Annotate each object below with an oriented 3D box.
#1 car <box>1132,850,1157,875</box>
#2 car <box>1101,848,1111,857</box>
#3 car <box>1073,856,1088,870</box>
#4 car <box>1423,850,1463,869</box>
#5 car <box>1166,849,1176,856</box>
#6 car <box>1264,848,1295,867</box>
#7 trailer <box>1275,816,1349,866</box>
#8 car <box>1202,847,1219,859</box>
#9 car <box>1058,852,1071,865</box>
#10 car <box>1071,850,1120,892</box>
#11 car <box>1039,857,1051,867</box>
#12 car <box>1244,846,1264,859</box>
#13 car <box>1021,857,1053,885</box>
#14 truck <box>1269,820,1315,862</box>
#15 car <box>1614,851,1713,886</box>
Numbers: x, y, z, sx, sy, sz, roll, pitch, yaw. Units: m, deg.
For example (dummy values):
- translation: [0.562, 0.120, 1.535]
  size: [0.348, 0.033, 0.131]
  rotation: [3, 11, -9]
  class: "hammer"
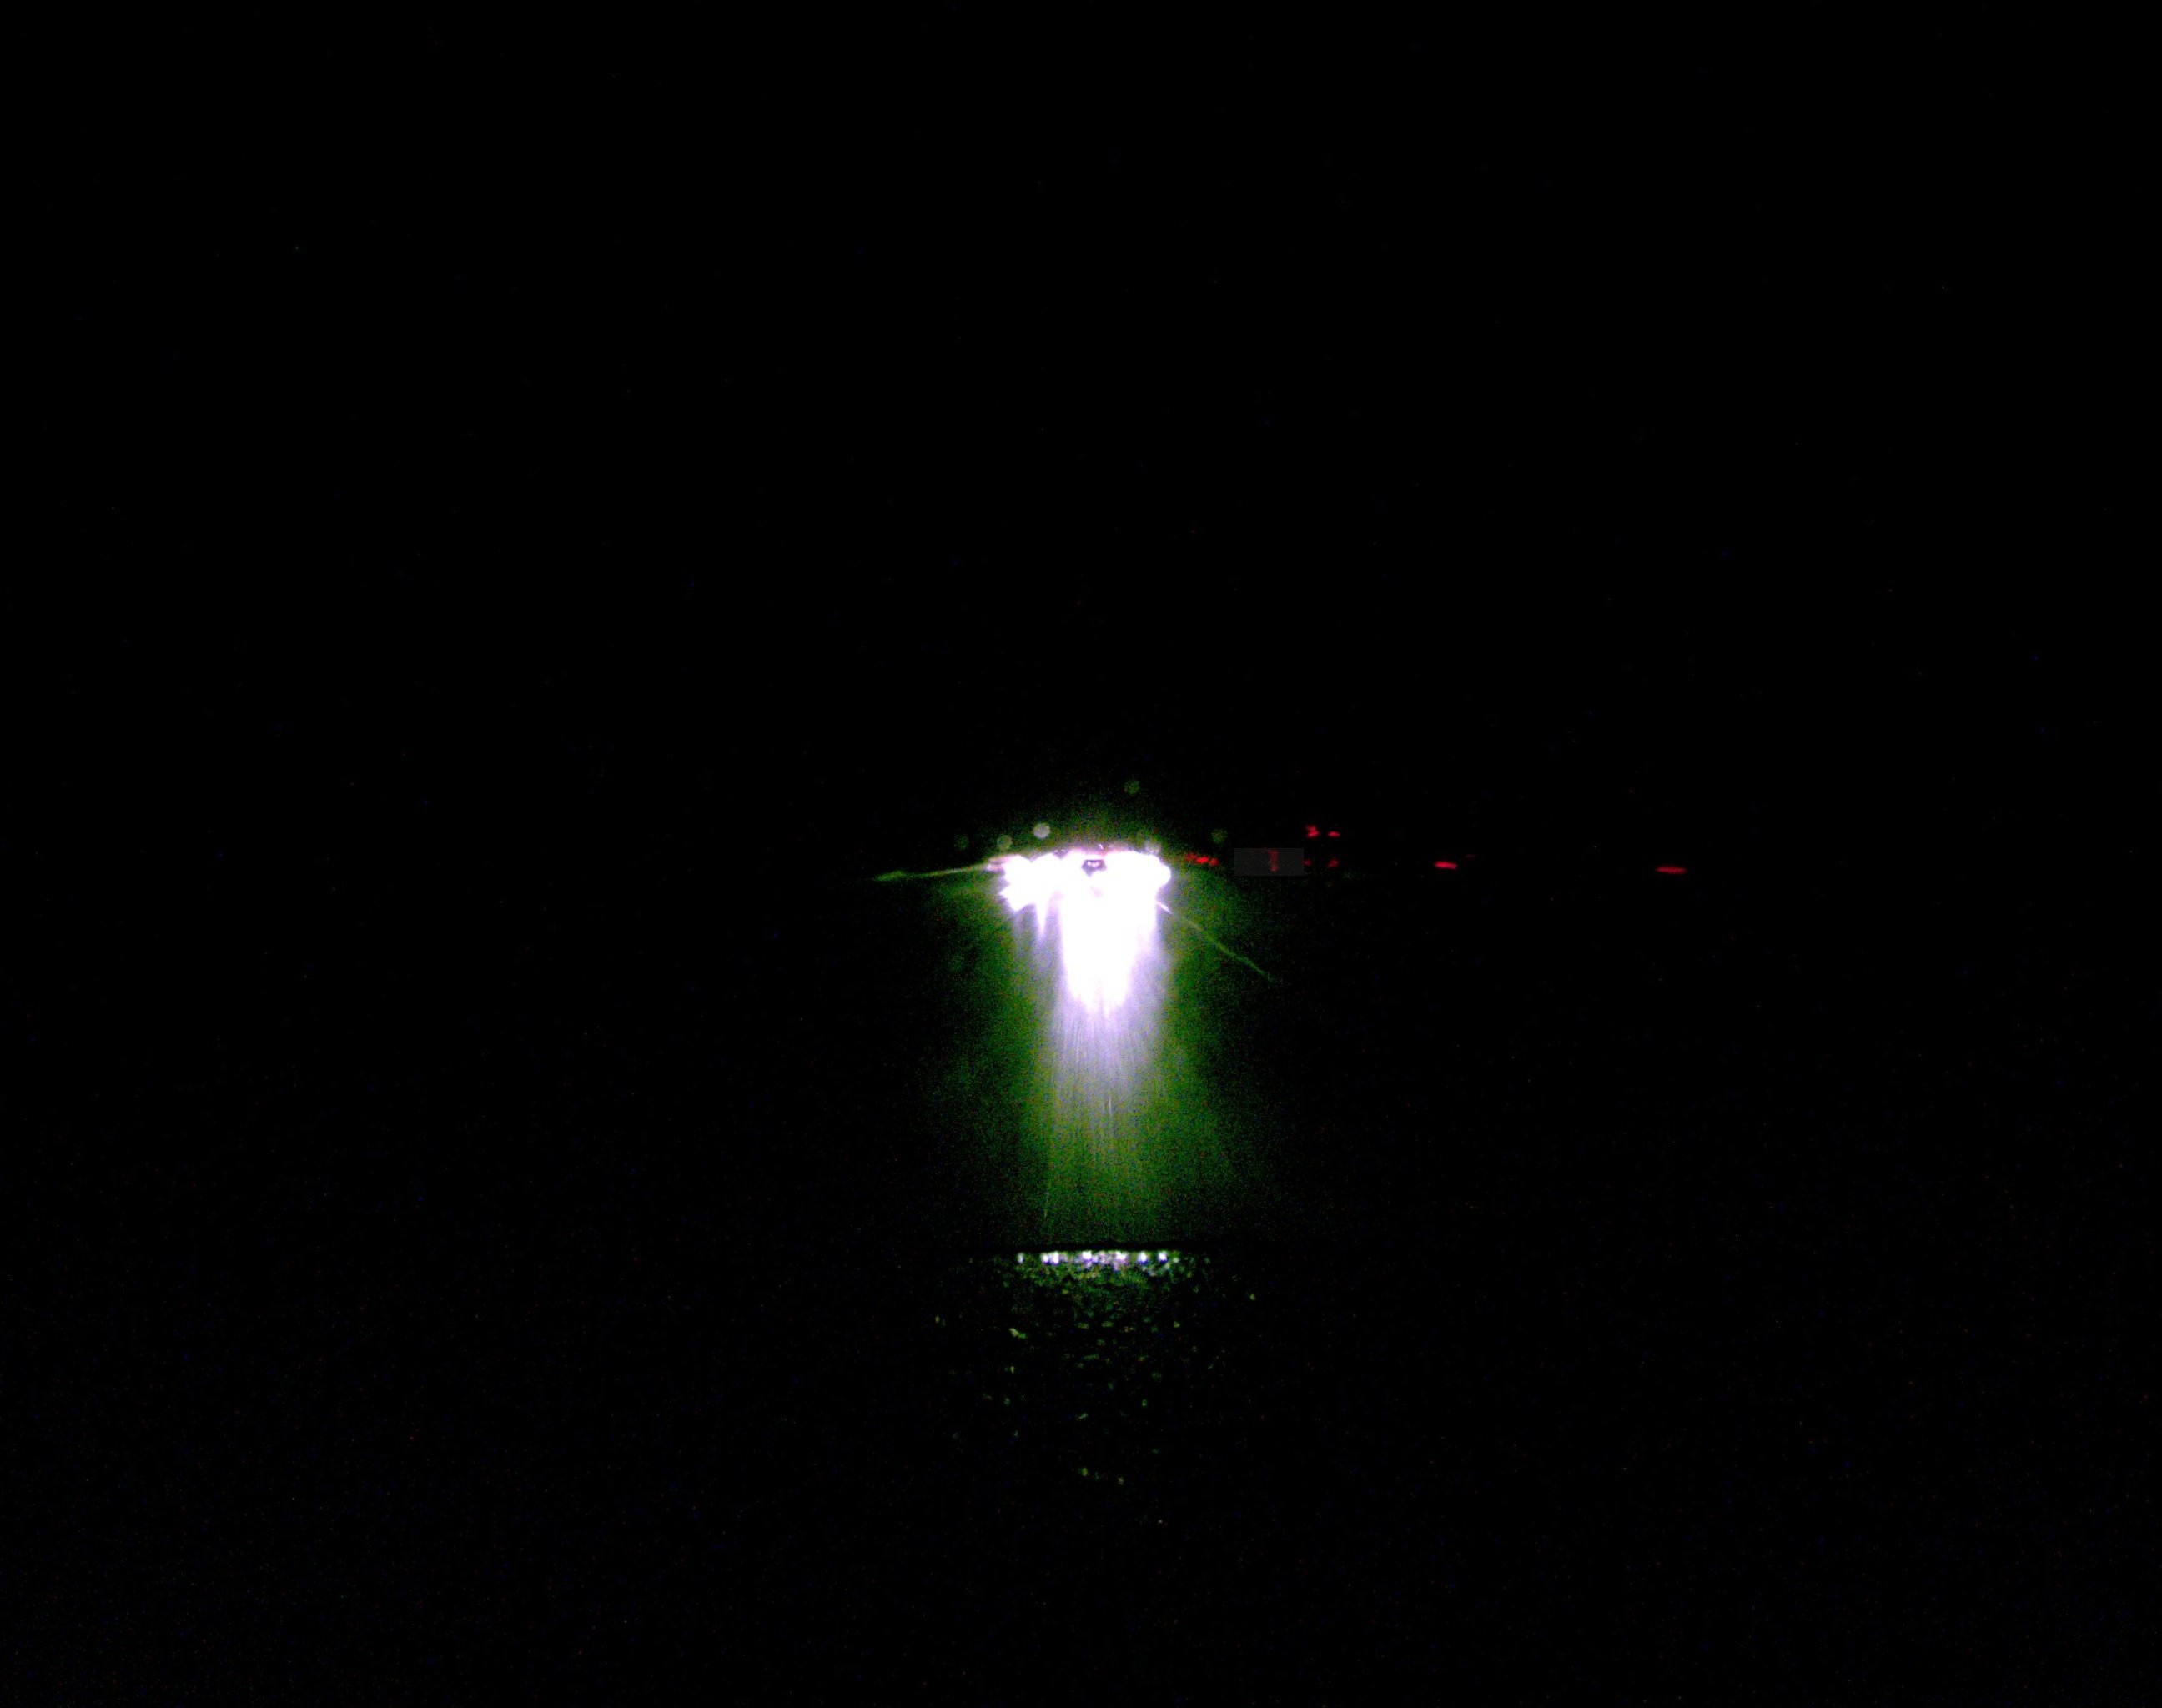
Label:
- translation: [4.887, 0.621, 58.609]
  size: [1.611, 1.775, 3.910]
  rotation: [-2, 1, 1]
  class: "car"
- translation: [4.890, -0.320, 149.590]
  size: [1.800, 1.728, 3.999]
  rotation: [-2, 1, 1]
  class: "car"
- translation: [-0.087, 1.105, 96.609]
  size: [1.755, 1.563, 3.999]
  rotation: [-2, 1, 1]
  class: "car"
- translation: [32.147, 0.485, 67.545]
  size: [1.661, 1.504, 3.999]
  rotation: [-2, 1, 1]
  class: "car"
- translation: [22.776, -0.472, 192.263]
  size: [1.724, 1.744, 4.396]
  rotation: [-2, 1, -1]
  class: "car"
- translation: [17.712, 0.290, 67.959]
  size: [1.661, 1.504, 3.945]
  rotation: [-2, 1, 1]
  class: "car"
- translation: [25.744, -1.410, 85.864]
  size: [3.798, 4.999, 14.799]
  rotation: [-2, 1, 1]
  class: "trailer"
- translation: [17.779, -0.160, 104.510]
  size: [1.661, 1.504, 3.999]
  rotation: [-2, 1, 1]
  class: "car"
- translation: [-2.688, 0.711, 123.356]
  size: [1.998, 1.852, 3.999]
  rotation: [-2, 1, 1]
  class: "car"
- translation: [0.623, 0.710, 34.134]
  size: [1.960, 1.655, 4.915]
  rotation: [-2, 0, 1]
  class: "car"
- translation: [-6.496, 1.453, 136.595]
  size: [1.755, 1.563, 3.999]
  rotation: [-2, 1, 1]
  class: "car"
- translation: [21.342, -0.253, 93.814]
  size: [1.661, 1.504, 3.999]
  rotation: [-2, 1, 1]
  class: "car"
- translation: [-2.917, 1.087, 51.301]
  size: [1.792, 1.681, 3.999]
  rotation: [-2, 1, 1]
  class: "car"
- translation: [25.894, -1.566, 93.587]
  size: [3.798, 4.881, 6.477]
  rotation: [-2, 1, 1]
  class: "truck"
- translation: [27.900, 0.635, 36.556]
  size: [1.661, 1.504, 3.999]
  rotation: [-2, 1, 1]
  class: "car"
